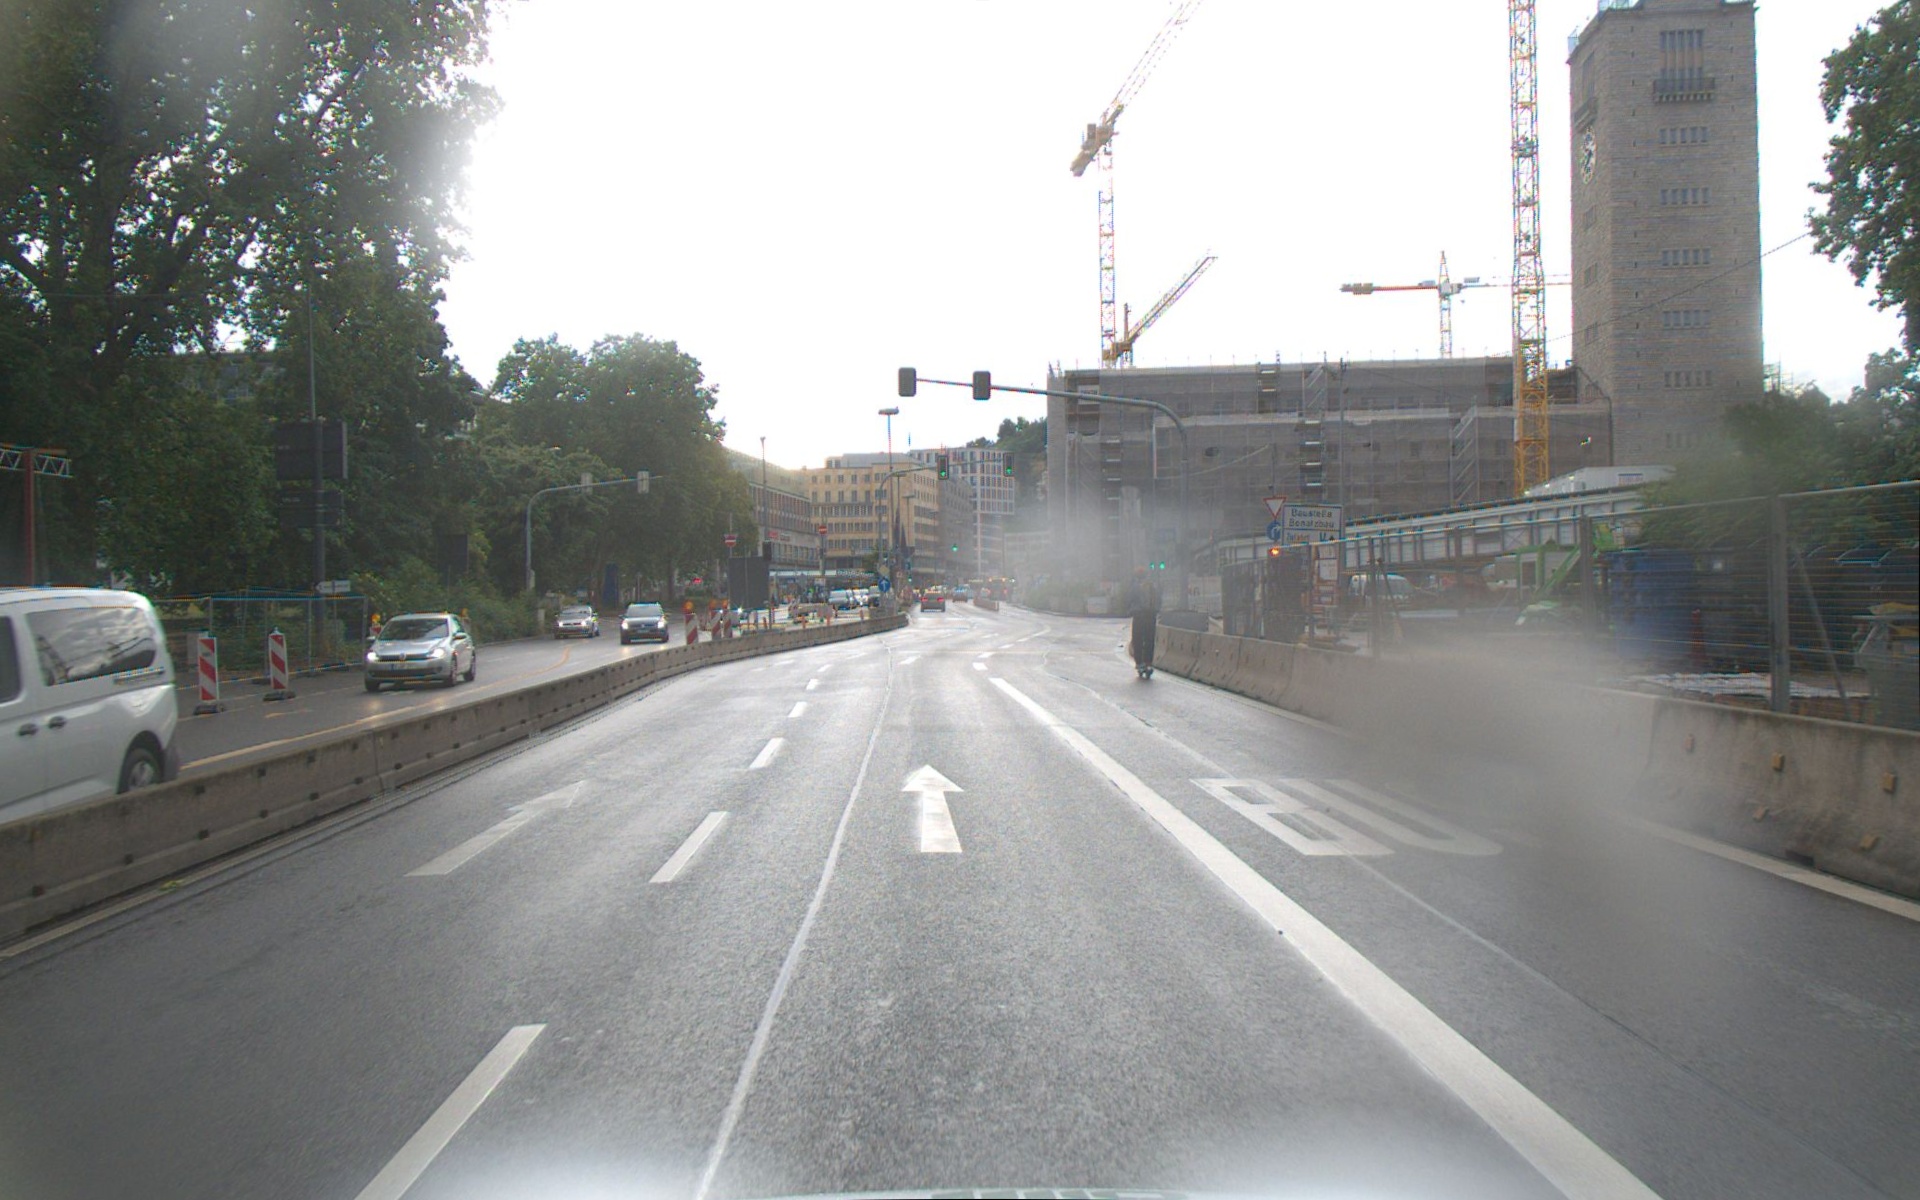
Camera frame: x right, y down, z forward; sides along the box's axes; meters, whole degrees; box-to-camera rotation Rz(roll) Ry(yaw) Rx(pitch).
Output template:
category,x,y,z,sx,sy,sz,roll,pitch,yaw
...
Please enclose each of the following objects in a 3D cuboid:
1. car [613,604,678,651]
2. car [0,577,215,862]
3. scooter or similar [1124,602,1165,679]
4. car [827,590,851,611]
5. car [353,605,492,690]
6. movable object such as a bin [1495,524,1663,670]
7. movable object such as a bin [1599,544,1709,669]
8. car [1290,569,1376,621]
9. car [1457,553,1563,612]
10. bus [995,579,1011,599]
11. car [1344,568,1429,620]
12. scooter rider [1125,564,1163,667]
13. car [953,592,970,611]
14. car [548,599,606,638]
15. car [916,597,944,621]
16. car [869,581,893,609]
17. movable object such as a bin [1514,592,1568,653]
category,x,y,z,sx,sy,sz,roll,pitch,yaw
car,-11.960,1.081,63.129,1.955,1.568,4.574,-3,-2,-5
car,-6.736,0.768,10.581,1.991,1.682,4.906,-3,-1,-5
scooter or similar,3.321,0.708,29.797,0.585,1.342,1.667,-1,0,2
car,-10.294,0.032,140.760,1.864,1.554,4.174,-3,-2,-3
car,-11.130,1.009,34.519,1.833,1.568,4.085,-3,-2,-5
movable object such as a bin,12.852,-0.115,34.596,1.772,2.858,3.862,-1,1,-6
movable object such as a bin,12.870,0.090,30.699,1.437,2.241,1.255,-1,1,-24
car,15.294,-0.201,68.129,1.875,2.010,5.156,-1,0,-6
car,23.615,-0.702,71.274,2.006,2.354,5.596,-3,0,-8
bus,6.108,-1.540,234.341,1.952,2.474,4.002,-3,-2,5
car,15.973,-0.254,62.187,1.809,1.838,5.086,-1,1,-1
scooter rider,3.310,0.283,29.789,0.585,1.817,0.997,-1,0,2
car,0.228,0.226,202.797,1.953,2.049,4.000,-3,-2,1
car,-17.854,0.890,77.264,1.955,1.568,4.440,-3,-2,-5
car,-2.192,0.665,120.142,1.864,1.554,4.174,-3,-2,-3
car,-6.765,-0.440,141.328,1.864,2.119,4.174,-3,-2,-3
movable object such as a bin,13.602,0.516,38.746,1.151,1.368,1.266,0,1,18
